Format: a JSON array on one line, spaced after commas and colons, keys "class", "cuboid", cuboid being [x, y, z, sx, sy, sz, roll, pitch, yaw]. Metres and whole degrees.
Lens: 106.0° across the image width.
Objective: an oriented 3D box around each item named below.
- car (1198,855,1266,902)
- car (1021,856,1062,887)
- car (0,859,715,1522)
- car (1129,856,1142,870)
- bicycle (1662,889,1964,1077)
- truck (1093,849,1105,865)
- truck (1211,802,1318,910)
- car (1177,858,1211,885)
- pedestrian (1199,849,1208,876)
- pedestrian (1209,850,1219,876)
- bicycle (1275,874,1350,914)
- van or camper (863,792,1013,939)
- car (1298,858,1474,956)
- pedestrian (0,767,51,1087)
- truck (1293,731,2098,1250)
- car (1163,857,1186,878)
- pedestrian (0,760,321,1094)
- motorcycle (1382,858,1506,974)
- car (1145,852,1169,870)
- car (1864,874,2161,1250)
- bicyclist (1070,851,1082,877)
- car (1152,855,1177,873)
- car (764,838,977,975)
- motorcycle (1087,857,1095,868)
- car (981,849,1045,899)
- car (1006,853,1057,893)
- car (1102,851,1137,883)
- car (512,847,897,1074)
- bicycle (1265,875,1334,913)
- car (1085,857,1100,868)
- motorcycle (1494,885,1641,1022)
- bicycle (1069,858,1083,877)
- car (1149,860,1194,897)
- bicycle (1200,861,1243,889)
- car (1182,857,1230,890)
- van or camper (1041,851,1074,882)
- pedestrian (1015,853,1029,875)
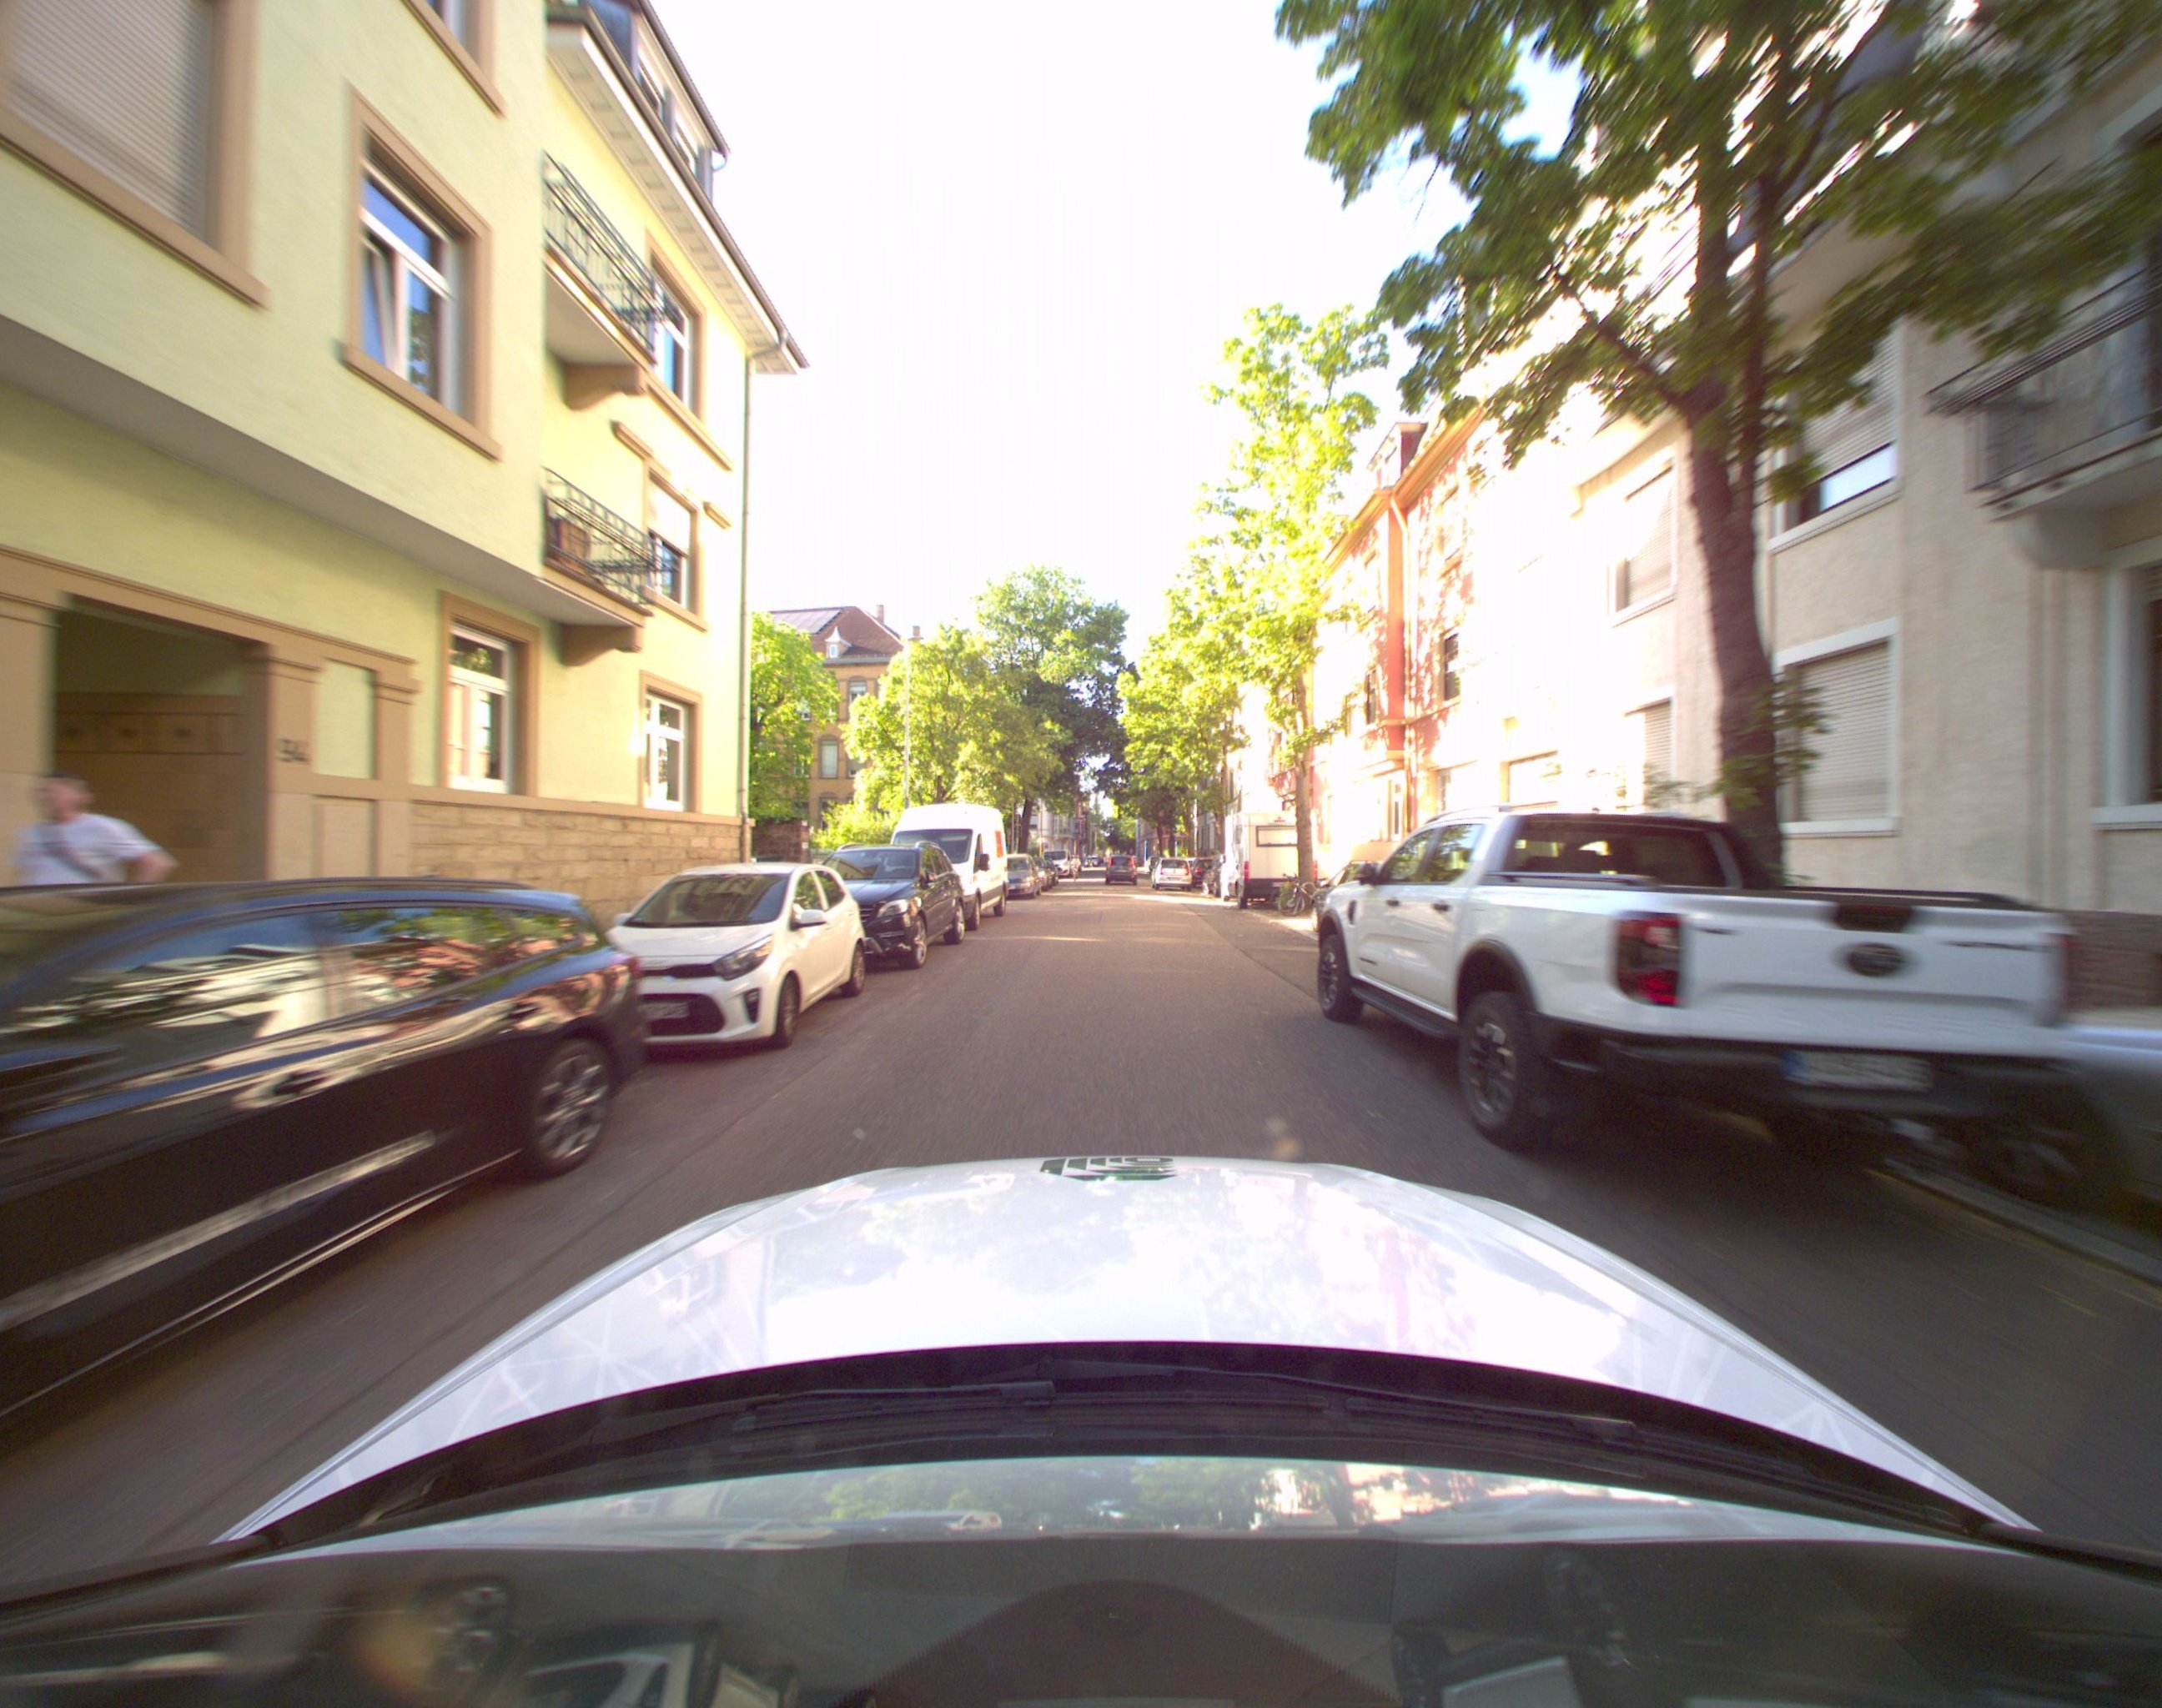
[{"class": "car", "cuboid": [5.914, 0.891, 32.424, 1.879, 1.716, 4.944, 0, 0, 1]}, {"class": "car", "cuboid": [-1.990, 0.851, 41.836, 1.708, 1.395, 4.780, -3, 0, 1]}, {"class": "car", "cuboid": [-3.358, 0.800, 2.895, 1.759, 1.521, 4.827, 0, 0, 2]}, {"class": "car", "cuboid": [7.070, 1.178, 106.183, 1.656, 1.669, 3.760, 2, 0, 3]}, {"class": "bicycle", "cuboid": [5.431, 0.933, 6.101, 1.753, 1.305, 0.586, 1, 0, 0]}, {"class": "truck", "cuboid": [3.569, 0.547, 161.402, 2.062, 2.926, 5.071, -3, 0, 3]}, {"class": "truck", "cuboid": [5.665, 0.061, 26.020, 2.066, 2.968, 6.110, -2, 0, 1]}, {"class": "car", "cuboid": [6.480, 0.995, 47.044, 1.590, 1.488, 3.750, 0, 0, 2]}, {"class": "pedestrian", "cuboid": [8.216, 0.561, 54.520, 0.517, 1.735, 0.879, 0, 0, 3]}, {"class": "pedestrian", "cuboid": [8.856, 0.579, 54.420, 0.593, 1.701, 0.689, 0, 0, 3]}, {"class": "bicycle", "cuboid": [5.930, 1.020, 20.932, 1.777, 0.949, 0.580, 1, 0, 3]}, {"class": "van or camper", "cuboid": [-2.981, 0.228, 18.497, 2.120, 2.769, 5.854, -2, 0, 2]}, {"class": "car", "cuboid": [5.458, 0.846, 15.264, 1.743, 1.529, 4.785, 0, 0, 3]}, {"class": "pedestrian", "cuboid": [-6.170, 0.381, 3.849, 0.989, 1.675, 1.243, 0, 0, 1]}, {"class": "truck", "cuboid": [3.073, 0.519, 5.897, 1.821, 1.949, 5.544, 1, 0, 2]}, {"class": "car", "cuboid": [7.090, 1.009, 61.874, 1.514, 1.511, 3.546, 0, 0, 2]}, {"class": "pedestrian", "cuboid": [-5.924, 0.404, 5.172, 0.989, 1.861, 1.243, 0, 0, 1]}, {"class": "motorcycle", "cuboid": [5.130, 0.813, 11.695, 0.926, 1.486, 2.140, 1, 0, 3]}, {"class": "car", "cuboid": [7.009, 0.659, 75.790, 1.783, 1.551, 4.408, 1, 0, -1]}, {"class": "car", "cuboid": [5.018, 0.824, 2.179, 1.674, 1.422, 4.432, -1, 0, 2]}, {"class": "bicyclist", "cuboid": [-0.284, 0.589, 48.142, 0.649, 1.509, 0.625, 0, 0, 4]}, {"class": "car", "cuboid": [7.202, 0.814, 70.330, 1.606, 1.478, 3.867, 1, 0, -2]}, {"class": "car", "cuboid": [-2.970, 0.661, 12.721, 1.868, 1.685, 4.971, -1, 0, 2]}, {"class": "motorcycle", "cuboid": [1.278, 1.107, 105.499, 0.696, 1.460, 1.746, 0, 0, -7]}, {"class": "car", "cuboid": [-2.365, 0.673, 29.333, 1.774, 1.591, 4.470, -2, 0, 2]}, {"class": "car", "cuboid": [-2.092, 0.794, 35.535, 1.669, 1.572, 4.154, -2, 0, 3]}, {"class": "car", "cuboid": [1.953, 0.650, 42.019, 1.628, 1.550, 3.263, 0, 0, -1]}, {"class": "car", "cuboid": [-3.056, 0.755, 7.648, 1.629, 1.552, 4.089, 0, -1, 1]}, {"class": "bicycle", "cuboid": [5.950, 1.080, 22.217, 1.699, 1.000, 0.705, 1, 0, -5]}, {"class": "car", "cuboid": [1.541, 1.140, 108.792, 1.789, 1.432, 3.928, -3, 0, 3]}, {"class": "motorcycle", "cuboid": [5.052, 0.958, 8.422, 1.773, 1.240, 0.694, 1, 0, -38]}, {"class": "bicycle", "cuboid": [-0.296, 0.809, 48.105, 0.662, 1.077, 1.687, 0, 0, 4]}, {"class": "car", "cuboid": [4.128, 1.089, 37.550, 1.673, 1.544, 3.801, 2, 0, 1]}, {"class": "bicycle", "cuboid": [6.255, 0.930, 36.278, 1.804, 1.167, 0.569, -2, 0, 1]}, {"class": "car", "cuboid": [6.214, 0.950, 40.825, 1.780, 1.514, 4.461, 1, 0, 1]}, {"class": "van or camper", "cuboid": [-1.564, 0.847, 56.367, 1.915, 1.980, 5.462, -2, 0, 1]}, {"class": "pedestrian", "cuboid": [-4.178, 0.693, 57.491, 0.877, 1.577, 0.530, 1, -1, 2]}]
